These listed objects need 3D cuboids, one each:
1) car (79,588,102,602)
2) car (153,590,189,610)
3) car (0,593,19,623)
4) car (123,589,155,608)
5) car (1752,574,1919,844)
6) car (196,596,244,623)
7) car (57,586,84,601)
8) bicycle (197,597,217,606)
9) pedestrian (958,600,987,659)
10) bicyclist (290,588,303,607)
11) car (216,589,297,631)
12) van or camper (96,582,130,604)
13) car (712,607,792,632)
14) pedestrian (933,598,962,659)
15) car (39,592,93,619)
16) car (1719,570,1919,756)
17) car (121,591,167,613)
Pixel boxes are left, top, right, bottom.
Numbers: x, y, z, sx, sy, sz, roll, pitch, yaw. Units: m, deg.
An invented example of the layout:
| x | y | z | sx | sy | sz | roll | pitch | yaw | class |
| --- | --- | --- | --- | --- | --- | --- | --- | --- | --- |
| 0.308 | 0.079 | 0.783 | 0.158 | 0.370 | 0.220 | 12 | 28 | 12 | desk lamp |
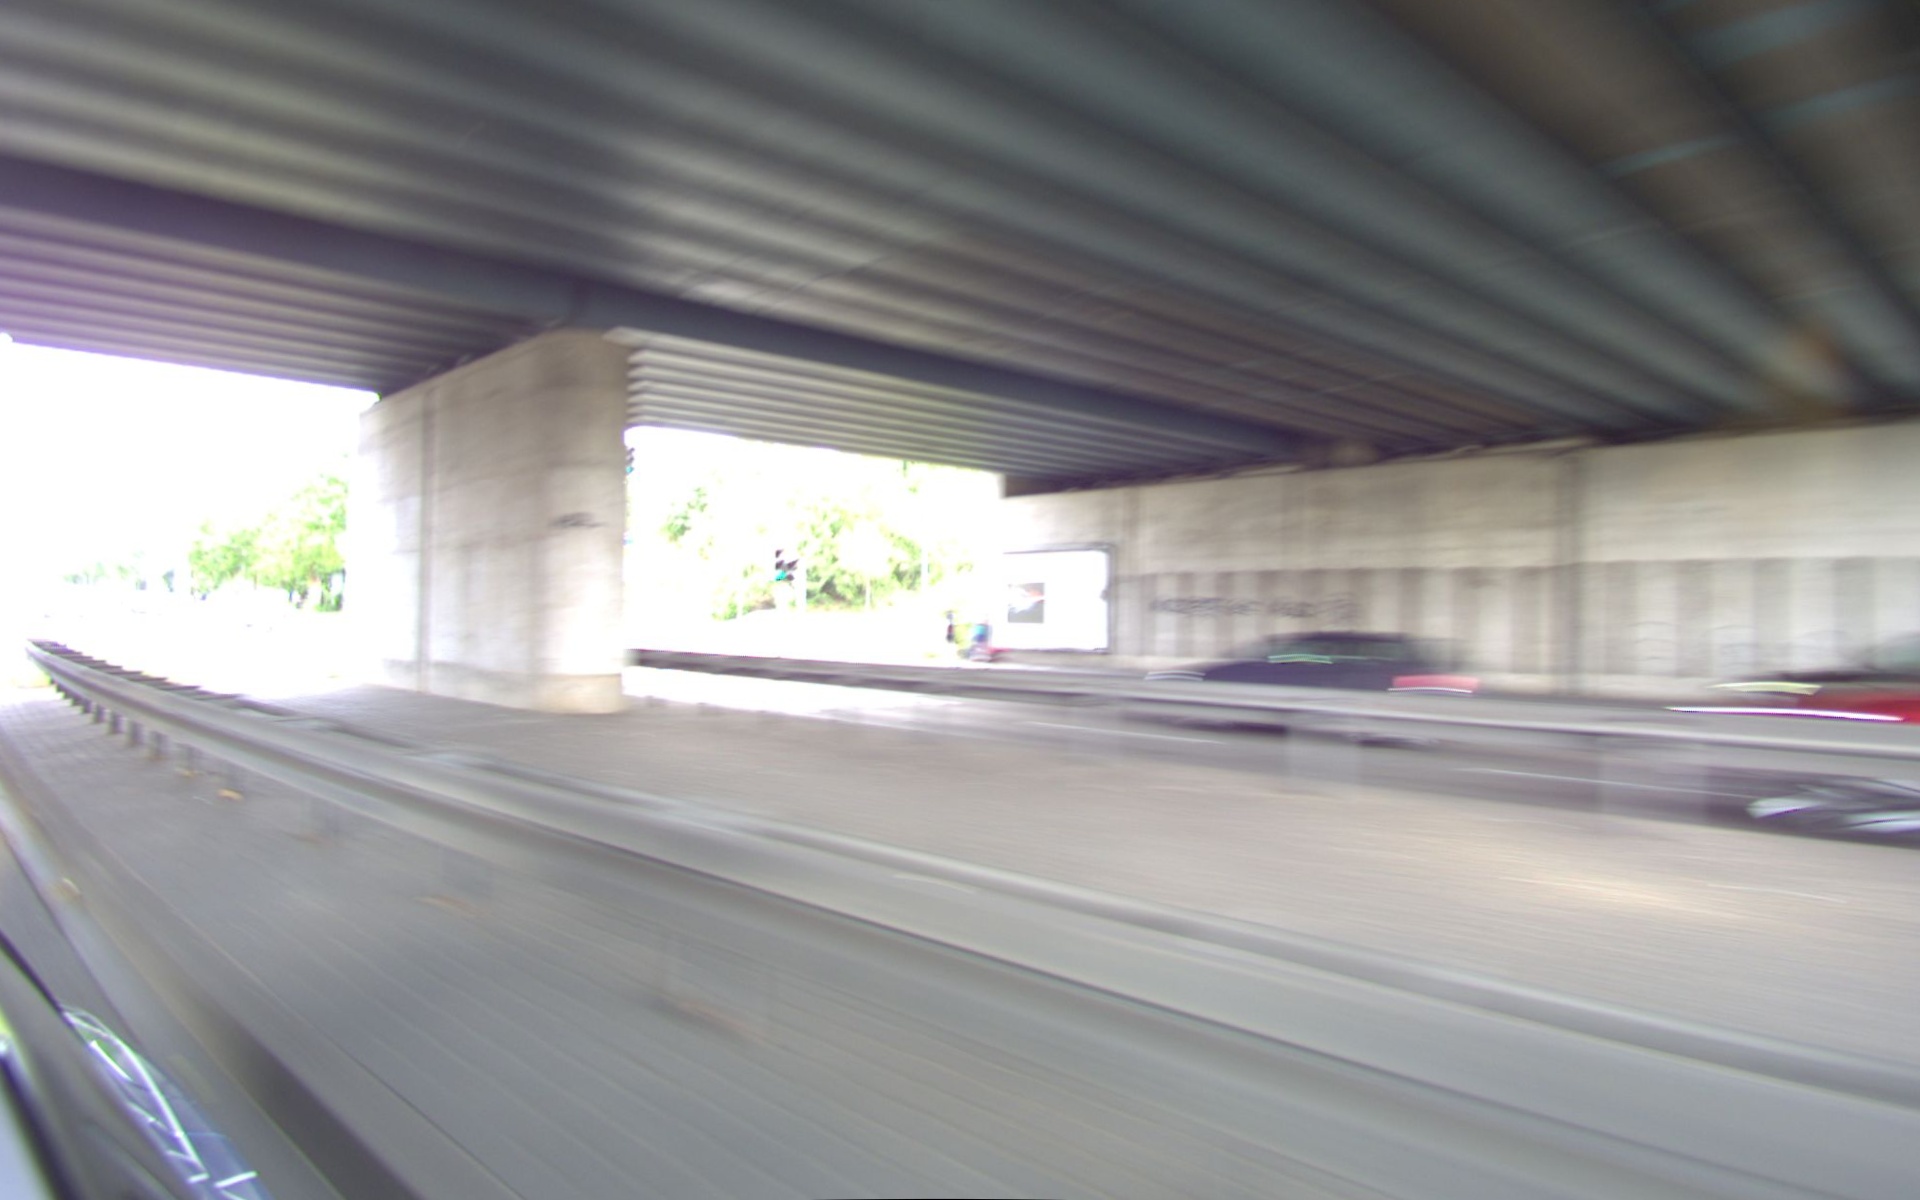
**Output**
| x | y | z | sx | sy | sz | roll | pitch | yaw | class |
| --- | --- | --- | --- | --- | --- | --- | --- | --- | --- |
| -120.499 | -0.682 | 140.174 | 4.410 | 1.815 | 1.971 | 0 | -1 | 44 | car |
| -66.893 | 0.016 | 85.767 | 1.903 | 1.541 | 4.003 | 3 | -1 | -44 | car |
| -48.231 | 0.389 | 50.358 | 1.893 | 1.425 | 4.298 | -2 | 2 | -45 | car |
| -79.388 | -0.114 | 97.837 | 4.222 | 1.779 | 1.971 | 0 | -1 | 44 | car |
| 7.674 | 0.710 | 6.280 | 4.317 | 1.688 | 1.974 | 0 | -1 | 38 | car |
| -47.811 | 0.628 | 65.356 | 1.785 | 1.644 | 4.395 | 2 | -1 | -45 | car |
| -115.918 | -0.841 | 131.828 | 5.195 | 1.978 | 2.166 | 0 | -1 | 44 | car |
| -100.886 | 0.192 | 135.600 | 2.119 | 1.022 | 0.664 | 2 | -1 | 0 | bicycle |
| 0.355 | 0.830 | 28.440 | 0.547 | 1.637 | 0.586 | 1 | -1 | -44 | pedestrian |
| -60.408 | -0.220 | 92.175 | 0.881 | 1.760 | 0.999 | 0 | 1 | -42 | bicyclist |
| -30.909 | 0.425 | 44.423 | 4.717 | 1.772 | 1.971 | 0 | -1 | 43 | car |
| -98.455 | -0.822 | 117.538 | 7.066 | 2.559 | 2.325 | 1 | 0 | 44 | van or camper |
| -12.405 | 1.156 | 60.428 | 4.253 | 1.389 | 2.004 | 1 | -1 | -39 | car |
| -0.344 | 0.809 | 28.624 | 0.556 | 1.693 | 0.584 | 0 | -1 | 43 | pedestrian |
| -50.099 | 0.285 | 56.685 | 1.971 | 1.426 | 4.835 | 0 | 1 | -45 | car |
| 11.446 | 0.701 | 11.491 | 4.338 | 2.029 | 1.971 | 0 | -1 | 44 | car |
| -56.405 | 0.154 | 69.940 | 1.951 | 1.400 | 4.783 | 2 | -1 | -45 | car |
